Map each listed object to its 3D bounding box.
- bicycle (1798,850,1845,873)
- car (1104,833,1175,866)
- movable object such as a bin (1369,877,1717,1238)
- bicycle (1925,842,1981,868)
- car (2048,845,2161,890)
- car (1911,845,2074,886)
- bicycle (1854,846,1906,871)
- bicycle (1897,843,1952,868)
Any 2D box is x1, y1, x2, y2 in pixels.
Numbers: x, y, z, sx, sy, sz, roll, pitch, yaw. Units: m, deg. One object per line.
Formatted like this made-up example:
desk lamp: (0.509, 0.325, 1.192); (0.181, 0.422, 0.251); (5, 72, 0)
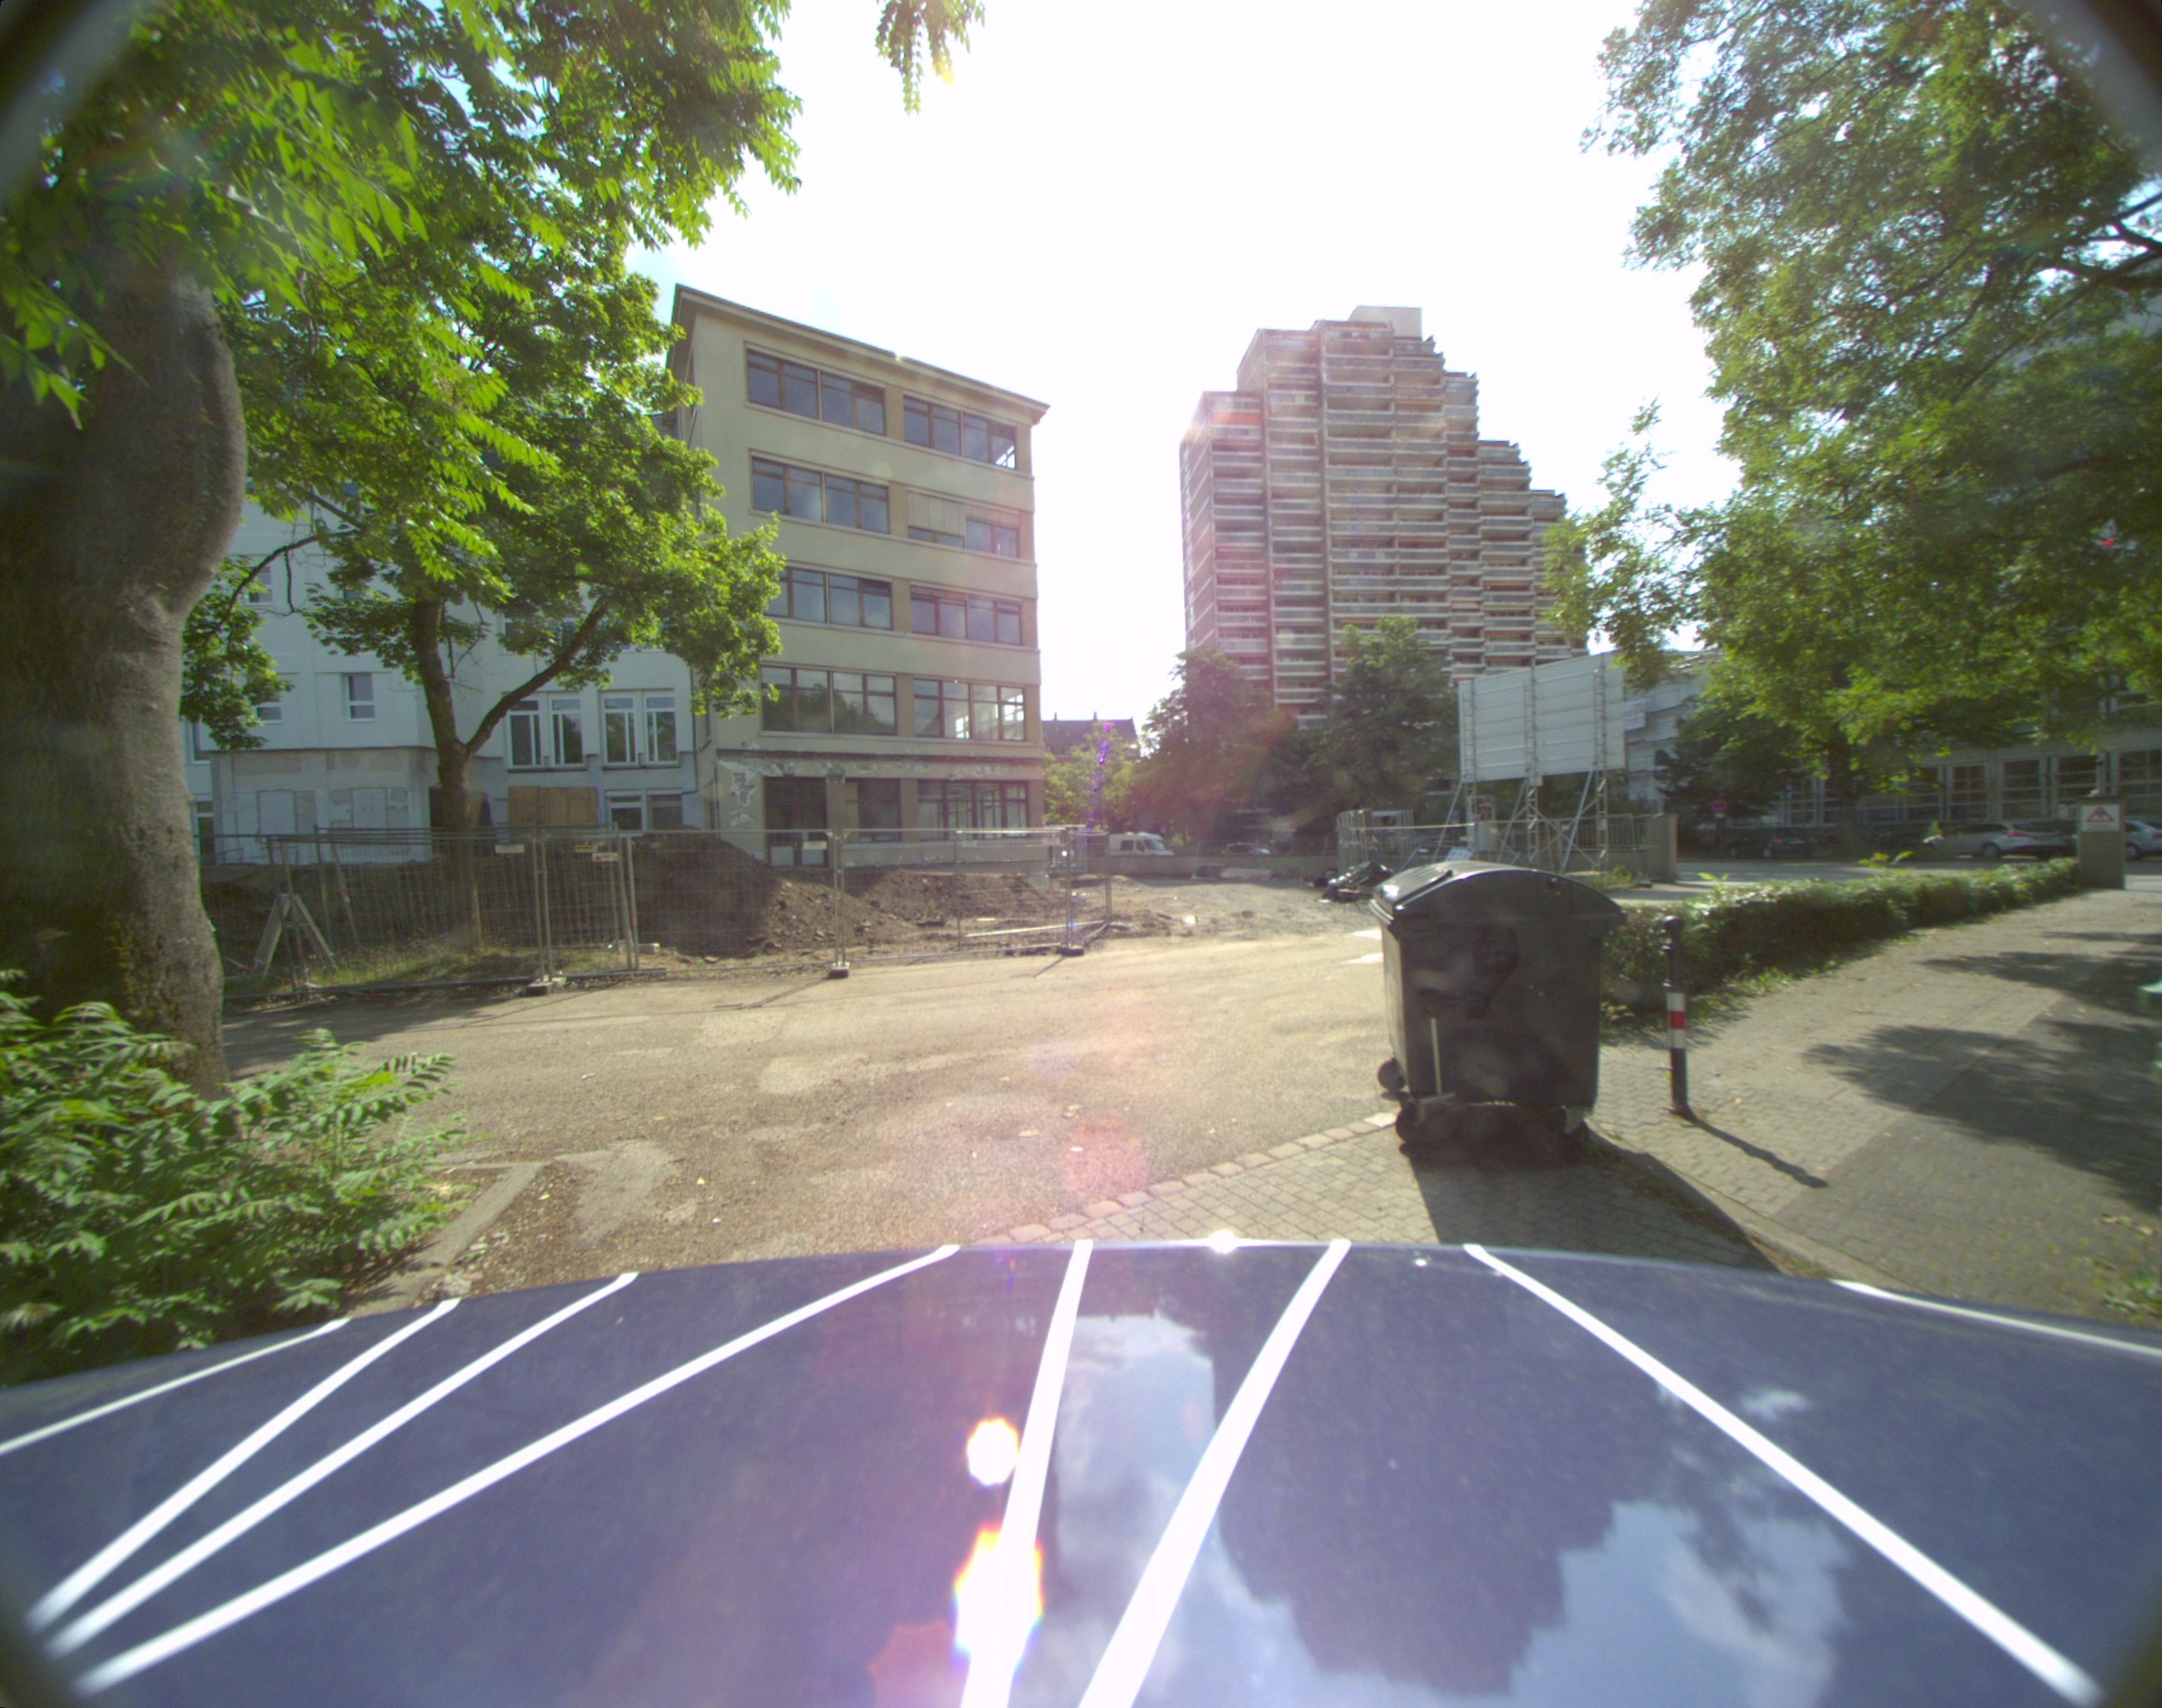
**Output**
bicycle: (39.492, 0.388, 40.518); (2.055, 1.080, 0.497); (-4, 0, -3)
car: (3.797, -0.364, 50.102); (2.003, 2.002, 5.294); (-2, 2, -31)
movable object such as a bin: (2.283, 0.920, 4.041); (1.247, 1.474, 1.297); (-2, 2, 15)
bicycle: (40.310, 0.049, 35.127); (2.055, 1.080, 0.497); (-4, 0, -3)
car: (37.369, 0.453, 27.011); (1.722, 1.467, 3.787); (1, 2, 15)
car: (35.717, 0.393, 29.973); (1.780, 1.455, 4.239); (2, 1, 11)
bicycle: (39.774, 0.227, 37.821); (2.055, 1.080, 0.497); (-4, 0, -3)
bicycle: (40.022, 0.066, 36.050); (2.055, 1.080, 0.497); (-4, 0, -3)
